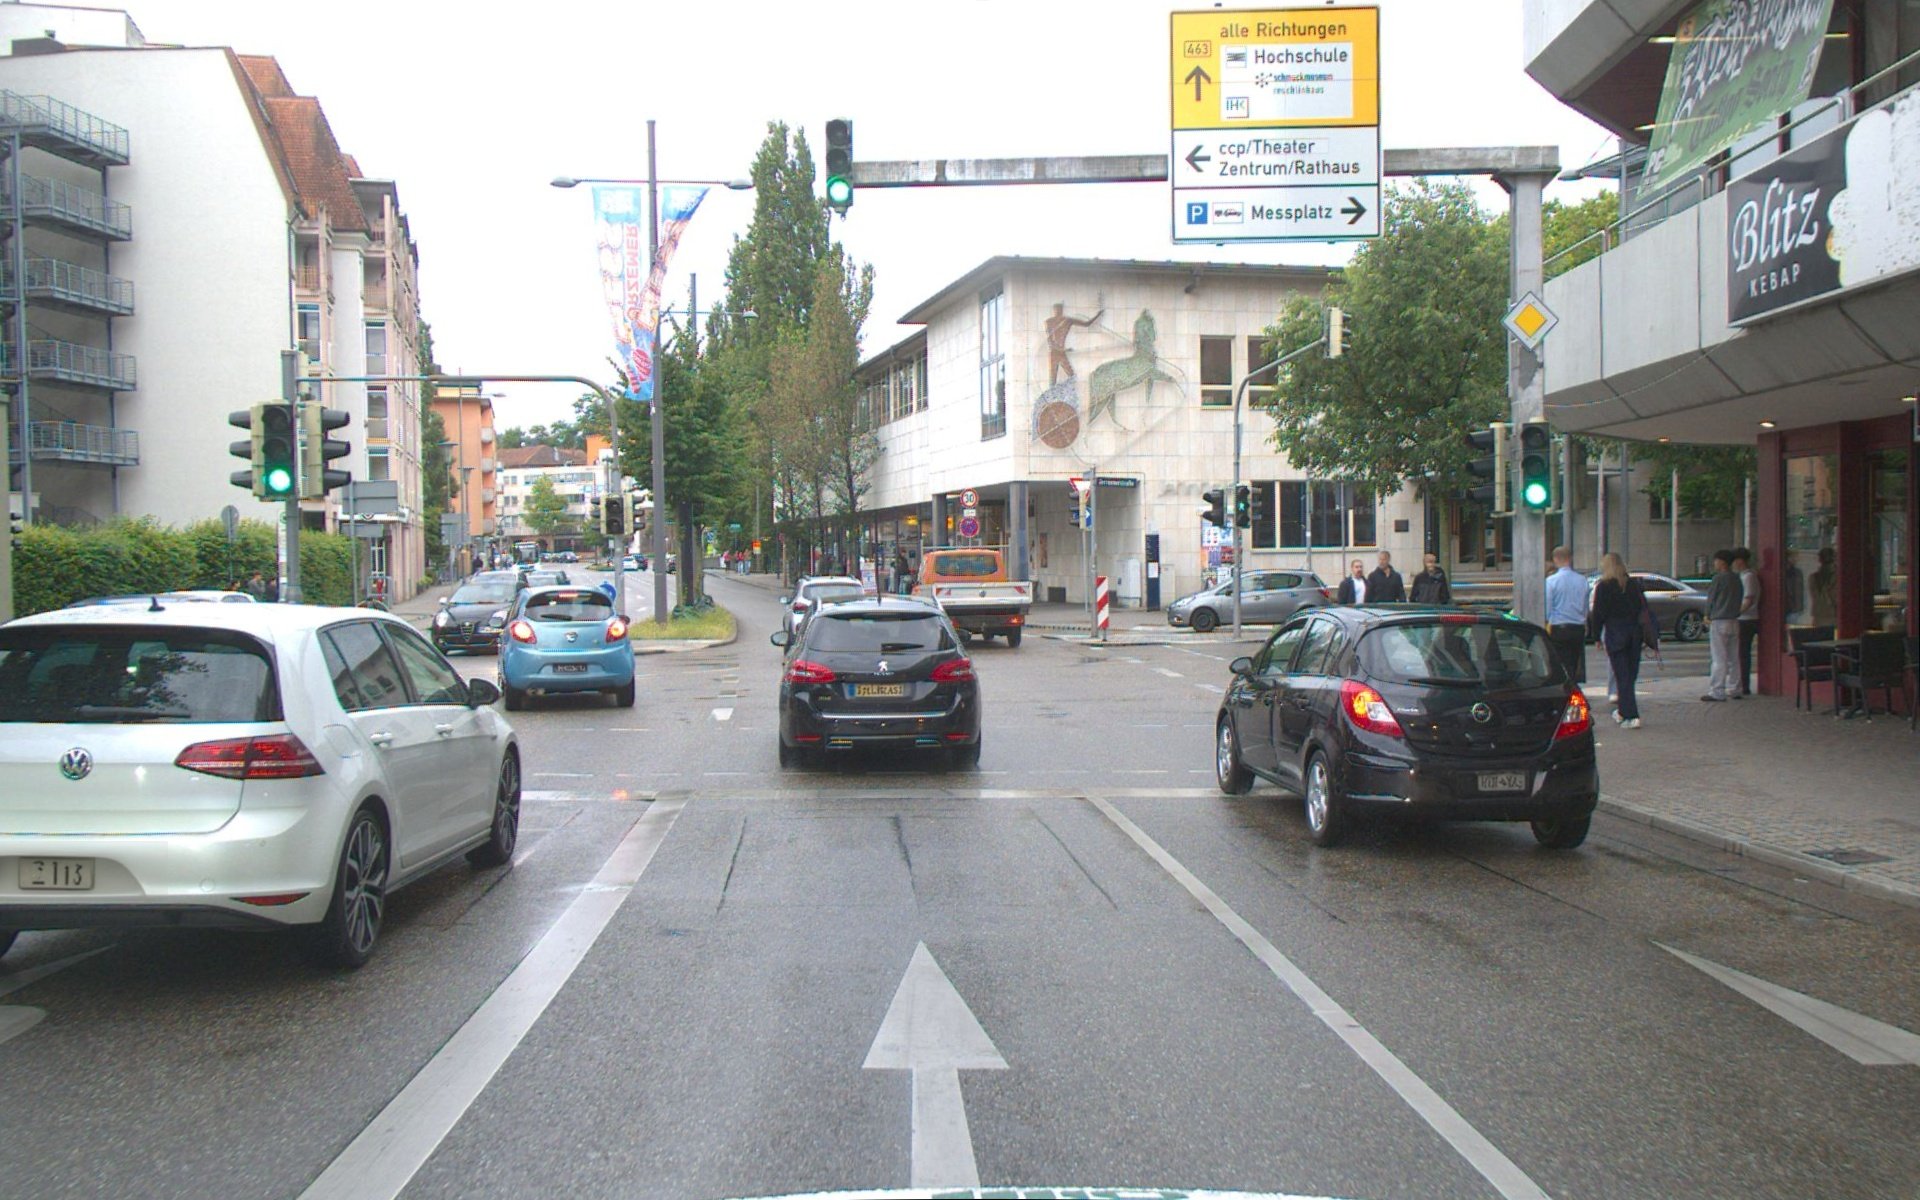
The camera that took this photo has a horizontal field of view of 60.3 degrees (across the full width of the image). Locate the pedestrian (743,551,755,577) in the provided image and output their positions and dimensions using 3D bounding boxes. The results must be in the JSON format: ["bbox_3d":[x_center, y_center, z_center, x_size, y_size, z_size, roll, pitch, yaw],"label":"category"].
[{"bbox_3d":[-14.716,-2.511,115.275,0.686,1.832,0.604,-3,2,-15],"label":"pedestrian"}]

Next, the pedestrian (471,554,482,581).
[{"bbox_3d":[-32.856,-2.187,112.392,0.686,1.825,0.956,0,1,-12],"label":"pedestrian"}]

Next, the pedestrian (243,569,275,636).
[{"bbox_3d":[-18.793,0.072,44.369,0.629,1.795,0.592,-1,-2,-6],"label":"pedestrian"}]

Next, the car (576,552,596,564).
[{"bbox_3d":[-56.119,-6.254,248.163,1.634,1.591,3.549,2,-2,-39],"label":"car"}]

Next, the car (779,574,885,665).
[{"bbox_3d":[-2.429,0.300,30.652,1.761,1.509,3.995,-1,1,-7],"label":"car"}]

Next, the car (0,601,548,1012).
[{"bbox_3d":[-3.276,0.744,7.901,1.730,1.434,3.998,1,0,-2],"label":"car"}]

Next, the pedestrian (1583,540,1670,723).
[{"bbox_3d":[6.733,0.314,16.726,0.609,1.805,0.677,-1,-1,4],"label":"pedestrian"}]

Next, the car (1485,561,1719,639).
[{"bbox_3d":[12.963,-0.026,33.444,4.189,1.444,1.780,-1,1,-15],"label":"car"}]

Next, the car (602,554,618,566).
[{"bbox_3d":[-50.320,-5.740,237.824,1.962,1.713,3.982,-2,2,-17],"label":"car"}]

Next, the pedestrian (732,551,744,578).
[{"bbox_3d":[-15.458,-2.482,115.049,0.642,1.797,0.919,-3,2,-15],"label":"pedestrian"}]

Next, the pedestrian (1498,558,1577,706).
[{"bbox_3d":[6.855,0.360,19.658,0.562,1.692,0.940,-2,1,0],"label":"pedestrian"}]

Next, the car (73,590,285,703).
[{"bbox_3d":[-12.112,0.666,25.916,1.638,1.541,3.642,-2,1,-2],"label":"car"}]

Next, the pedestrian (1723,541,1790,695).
[{"bbox_3d":[9.412,0.211,19.547,0.515,1.794,0.511,0,-1,-2],"label":"pedestrian"}]

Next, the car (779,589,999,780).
[{"bbox_3d":[-0.666,0.671,15.299,1.759,1.509,3.998,0,0,-3],"label":"car"}]

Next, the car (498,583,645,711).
[{"bbox_3d":[-5.167,0.538,21.717,1.669,1.500,3.673,0,1,-17],"label":"car"}]

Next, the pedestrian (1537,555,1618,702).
[{"bbox_3d":[7.565,0.330,20.300,0.576,1.736,0.971,-2,1,0],"label":"pedestrian"}]

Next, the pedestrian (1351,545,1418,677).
[{"bbox_3d":[6.346,0.165,24.775,0.743,1.935,0.789,-1,0,-2],"label":"pedestrian"}]

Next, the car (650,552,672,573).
[{"bbox_3d":[-25.806,-3.220,142.755,1.617,1.591,3.586,2,-1,-14],"label":"car"}]

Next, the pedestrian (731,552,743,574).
[{"bbox_3d":[-16.347,-2.712,121.255,0.714,1.617,0.604,-3,2,-15],"label":"pedestrian"}]

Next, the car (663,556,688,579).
[{"bbox_3d":[-21.935,-2.473,127.419,1.617,1.591,3.586,2,-1,-14],"label":"car"}]

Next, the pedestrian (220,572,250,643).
[{"bbox_3d":[-18.675,0.203,42.605,0.516,1.795,0.630,-1,-2,-6],"label":"pedestrian"}]

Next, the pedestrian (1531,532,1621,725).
[{"bbox_3d":[6.163,0.280,16.576,0.609,1.879,0.848,-1,-1,4],"label":"pedestrian"}]

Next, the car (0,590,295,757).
[{"bbox_3d":[-8.670,0.704,17.618,1.679,1.504,3.955,-3,0,-3],"label":"car"}]

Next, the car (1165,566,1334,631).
[{"bbox_3d":[6.968,-0.051,39.933,3.902,1.502,2.002,0,0,9],"label":"car"}]

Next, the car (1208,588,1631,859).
[{"bbox_3d":[2.912,0.692,11.320,1.674,1.482,3.740,0,1,-3],"label":"car"}]

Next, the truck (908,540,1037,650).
[{"bbox_3d":[0.167,-0.123,34.175,2.081,2.060,4.709,-2,1,-7],"label":"truck"}]

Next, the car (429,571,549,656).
[{"bbox_3d":[-9.558,0.227,33.821,1.590,1.582,3.657,-1,1,-4],"label":"car"}]

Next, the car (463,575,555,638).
[{"bbox_3d":[-13.594,0.161,50.105,1.791,1.766,4.308,-1,1,-3],"label":"car"}]

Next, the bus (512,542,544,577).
[{"bbox_3d":[-43.327,-4.134,165.587,2.700,3.128,12.186,-1,3,-16],"label":"bus"}]

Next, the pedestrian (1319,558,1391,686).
[{"bbox_3d":[5.740,0.308,24.048,0.734,1.811,0.887,-1,0,-6],"label":"pedestrian"}]

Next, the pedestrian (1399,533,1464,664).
[{"bbox_3d":[7.079,-0.027,24.845,0.718,1.929,0.676,-1,0,-3],"label":"pedestrian"}]

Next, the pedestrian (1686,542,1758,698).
[{"bbox_3d":[8.864,0.233,19.252,0.583,1.794,0.492,0,-1,-2],"label":"pedestrian"}]

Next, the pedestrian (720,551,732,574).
[{"bbox_3d":[-17.127,-2.739,121.073,0.705,1.648,0.766,-3,2,-15],"label":"pedestrian"}]

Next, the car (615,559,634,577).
[{"bbox_3d":[-31.752,-3.029,156.549,1.617,1.591,3.586,2,-1,-14],"label":"car"}]
